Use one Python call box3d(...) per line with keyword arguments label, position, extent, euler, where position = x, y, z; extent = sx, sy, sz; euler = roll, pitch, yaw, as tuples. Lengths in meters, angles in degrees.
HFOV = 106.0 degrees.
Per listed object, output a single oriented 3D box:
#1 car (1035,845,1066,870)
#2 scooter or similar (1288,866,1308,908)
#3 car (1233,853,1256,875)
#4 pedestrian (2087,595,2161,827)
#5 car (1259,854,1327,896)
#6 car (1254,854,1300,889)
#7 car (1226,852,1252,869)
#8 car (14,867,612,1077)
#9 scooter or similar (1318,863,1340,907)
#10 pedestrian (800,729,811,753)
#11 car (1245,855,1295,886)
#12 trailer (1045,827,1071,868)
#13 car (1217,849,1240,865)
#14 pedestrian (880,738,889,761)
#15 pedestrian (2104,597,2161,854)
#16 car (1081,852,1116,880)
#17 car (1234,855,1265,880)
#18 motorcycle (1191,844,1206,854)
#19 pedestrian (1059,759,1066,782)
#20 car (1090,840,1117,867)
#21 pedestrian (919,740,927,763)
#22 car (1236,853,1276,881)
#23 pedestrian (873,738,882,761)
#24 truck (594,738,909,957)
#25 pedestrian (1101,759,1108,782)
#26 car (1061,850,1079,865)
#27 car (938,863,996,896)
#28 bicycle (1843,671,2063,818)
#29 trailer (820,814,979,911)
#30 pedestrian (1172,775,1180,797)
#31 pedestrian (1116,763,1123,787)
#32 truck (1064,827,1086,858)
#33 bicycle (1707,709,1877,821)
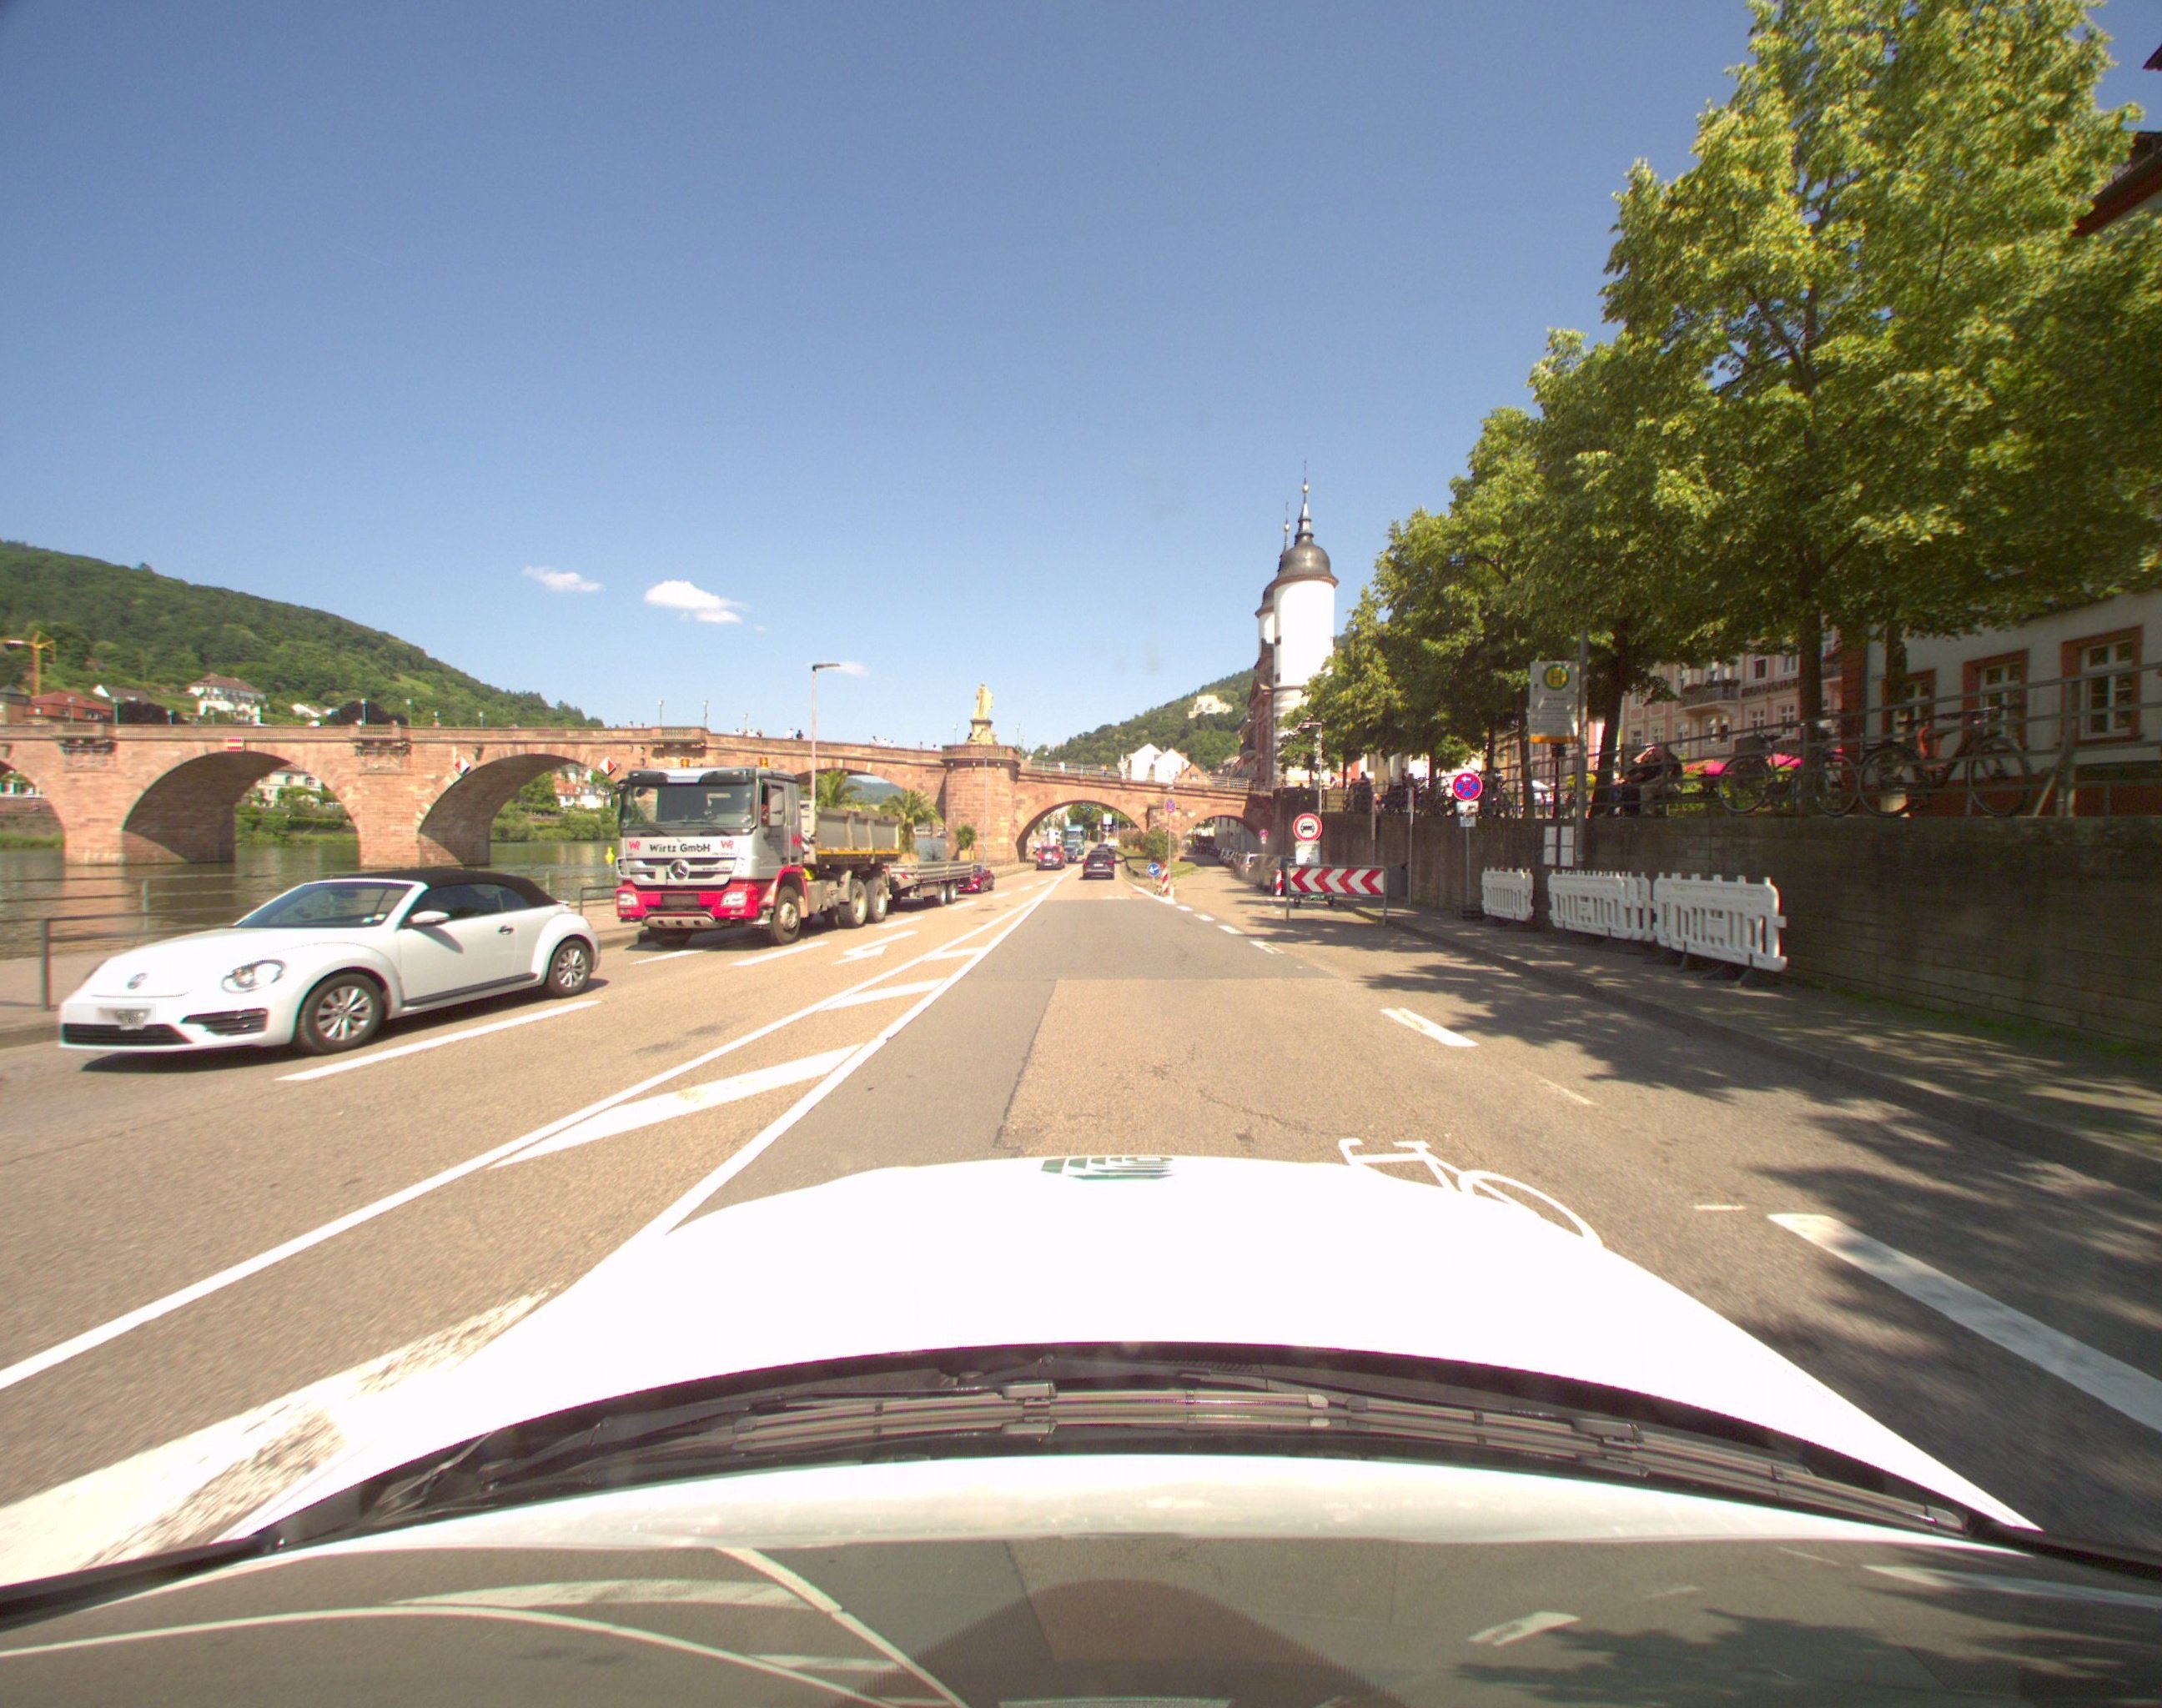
box3d(label="car", position=(-2.323, 0.252, 62.758), extent=(1.866, 1.827, 4.549), euler=(-1, 1, 4))
box3d(label="scooter or similar", position=(6.061, 0.907, 22.719), extent=(0.527, 1.089, 1.445), euler=(-1, 0, 15))
box3d(label="car", position=(11.826, 0.671, 58.874), extent=(1.580, 1.520, 3.916), euler=(0, 1, 12))
box3d(label="pedestrian", position=(8.459, -1.078, 6.198), extent=(0.715, 1.721, 0.712), euler=(-1, 0, 6))
box3d(label="car", position=(7.880, 0.720, 30.669), extent=(1.833, 1.450, 4.542), euler=(0, 0, 6))
box3d(label="car", position=(8.484, 0.739, 35.467), extent=(1.603, 1.413, 3.912), euler=(0, 0, 8))
box3d(label="car", position=(13.647, 0.530, 70.399), extent=(1.767, 1.436, 4.499), euler=(0, 1, 5))
box3d(label="car", position=(-6.743, 0.880, 7.894), extent=(1.769, 1.443, 4.004), euler=(-1, 0, 6))
box3d(label="scooter or similar", position=(7.124, 0.873, 23.360), extent=(0.527, 1.230, 1.277), euler=(-1, 0, 20))
box3d(label="pedestrian", position=(-24.317, -9.950, 71.910), extent=(0.691, 2.013, 0.625), euler=(-1, 0, -1))
box3d(label="car", position=(9.278, 0.767, 40.319), extent=(1.745, 1.432, 4.763), euler=(0, 0, 5))
box3d(label="trailer", position=(-1.924, -0.564, 68.070), extent=(1.734, 3.320, 3.388), euler=(-2, 0, 4))
box3d(label="car", position=(14.505, 0.261, 80.121), extent=(1.884, 1.492, 4.424), euler=(-1, 1, 5))
box3d(label="pedestrian", position=(-17.452, -9.279, 72.376), extent=(0.622, 2.013, 0.694), euler=(-1, 0, -4))
box3d(label="pedestrian", position=(9.574, -1.096, 6.974), extent=(0.715, 2.189, 0.712), euler=(-1, 0, 6))
box3d(label="car", position=(1.025, 0.656, 46.730), extent=(1.849, 1.524, 4.003), euler=(-1, 0, 3))
box3d(label="car", position=(10.210, 0.780, 49.437), extent=(1.700, 1.388, 4.421), euler=(-1, 0, 11))
box3d(label="motorcycle", position=(15.718, -0.657, 108.906), extent=(2.207, 1.267, 0.621), euler=(-1, 2, -36))
box3d(label="pedestrian", position=(-1.683, -7.607, 74.512), extent=(0.579, 2.013, 0.587), euler=(-1, 0, 3))
box3d(label="car", position=(1.787, -0.043, 62.711), extent=(1.986, 2.013, 4.003), euler=(-1, 0, 2))
box3d(label="pedestrian", position=(-14.040, -9.075, 72.247), extent=(0.622, 2.013, 0.694), euler=(-1, 0, -4))
box3d(label="car", position=(9.718, 0.694, 45.446), extent=(1.703, 1.457, 3.551), euler=(0, 0, 4))
box3d(label="pedestrian", position=(-18.060, -9.272, 72.230), extent=(0.622, 2.013, 0.694), euler=(-1, 0, -4))
box3d(label="truck", position=(-6.168, -0.085, 17.046), extent=(2.629, 3.457, 7.884), euler=(-2, 0, 6))
box3d(label="pedestrian", position=(2.143, -7.643, 74.230), extent=(0.681, 2.013, 0.587), euler=(-1, 0, 3))
box3d(label="car", position=(-1.111, 0.354, 83.502), extent=(1.528, 1.436, 3.731), euler=(-2, 1, 3))
box3d(label="car", position=(-4.664, 1.022, 33.796), extent=(1.664, 1.194, 3.632), euler=(-2, 0, 3))
box3d(label="bicycle", position=(7.797, -0.917, 7.392), extent=(0.407, 1.106, 1.740), euler=(-1, 0, 11))
box3d(label="trailer", position=(-5.307, 0.248, 25.300), extent=(2.684, 2.531, 6.958), euler=(-2, 0, 6))
box3d(label="pedestrian", position=(8.900, -6.353, 76.070), extent=(0.681, 2.013, 0.587), euler=(-1, 0, 3))
box3d(label="pedestrian", position=(3.376, -6.888, 71.264), extent=(0.621, 2.013, 0.696), euler=(-1, 0, 3))
box3d(label="truck", position=(-0.762, -1.545, 104.751), extent=(2.515, 3.748, 6.249), euler=(-2, 2, 1))
box3d(label="bicycle", position=(8.077, -0.966, 9.354), extent=(0.409, 1.106, 1.734), euler=(-1, 0, -1))
